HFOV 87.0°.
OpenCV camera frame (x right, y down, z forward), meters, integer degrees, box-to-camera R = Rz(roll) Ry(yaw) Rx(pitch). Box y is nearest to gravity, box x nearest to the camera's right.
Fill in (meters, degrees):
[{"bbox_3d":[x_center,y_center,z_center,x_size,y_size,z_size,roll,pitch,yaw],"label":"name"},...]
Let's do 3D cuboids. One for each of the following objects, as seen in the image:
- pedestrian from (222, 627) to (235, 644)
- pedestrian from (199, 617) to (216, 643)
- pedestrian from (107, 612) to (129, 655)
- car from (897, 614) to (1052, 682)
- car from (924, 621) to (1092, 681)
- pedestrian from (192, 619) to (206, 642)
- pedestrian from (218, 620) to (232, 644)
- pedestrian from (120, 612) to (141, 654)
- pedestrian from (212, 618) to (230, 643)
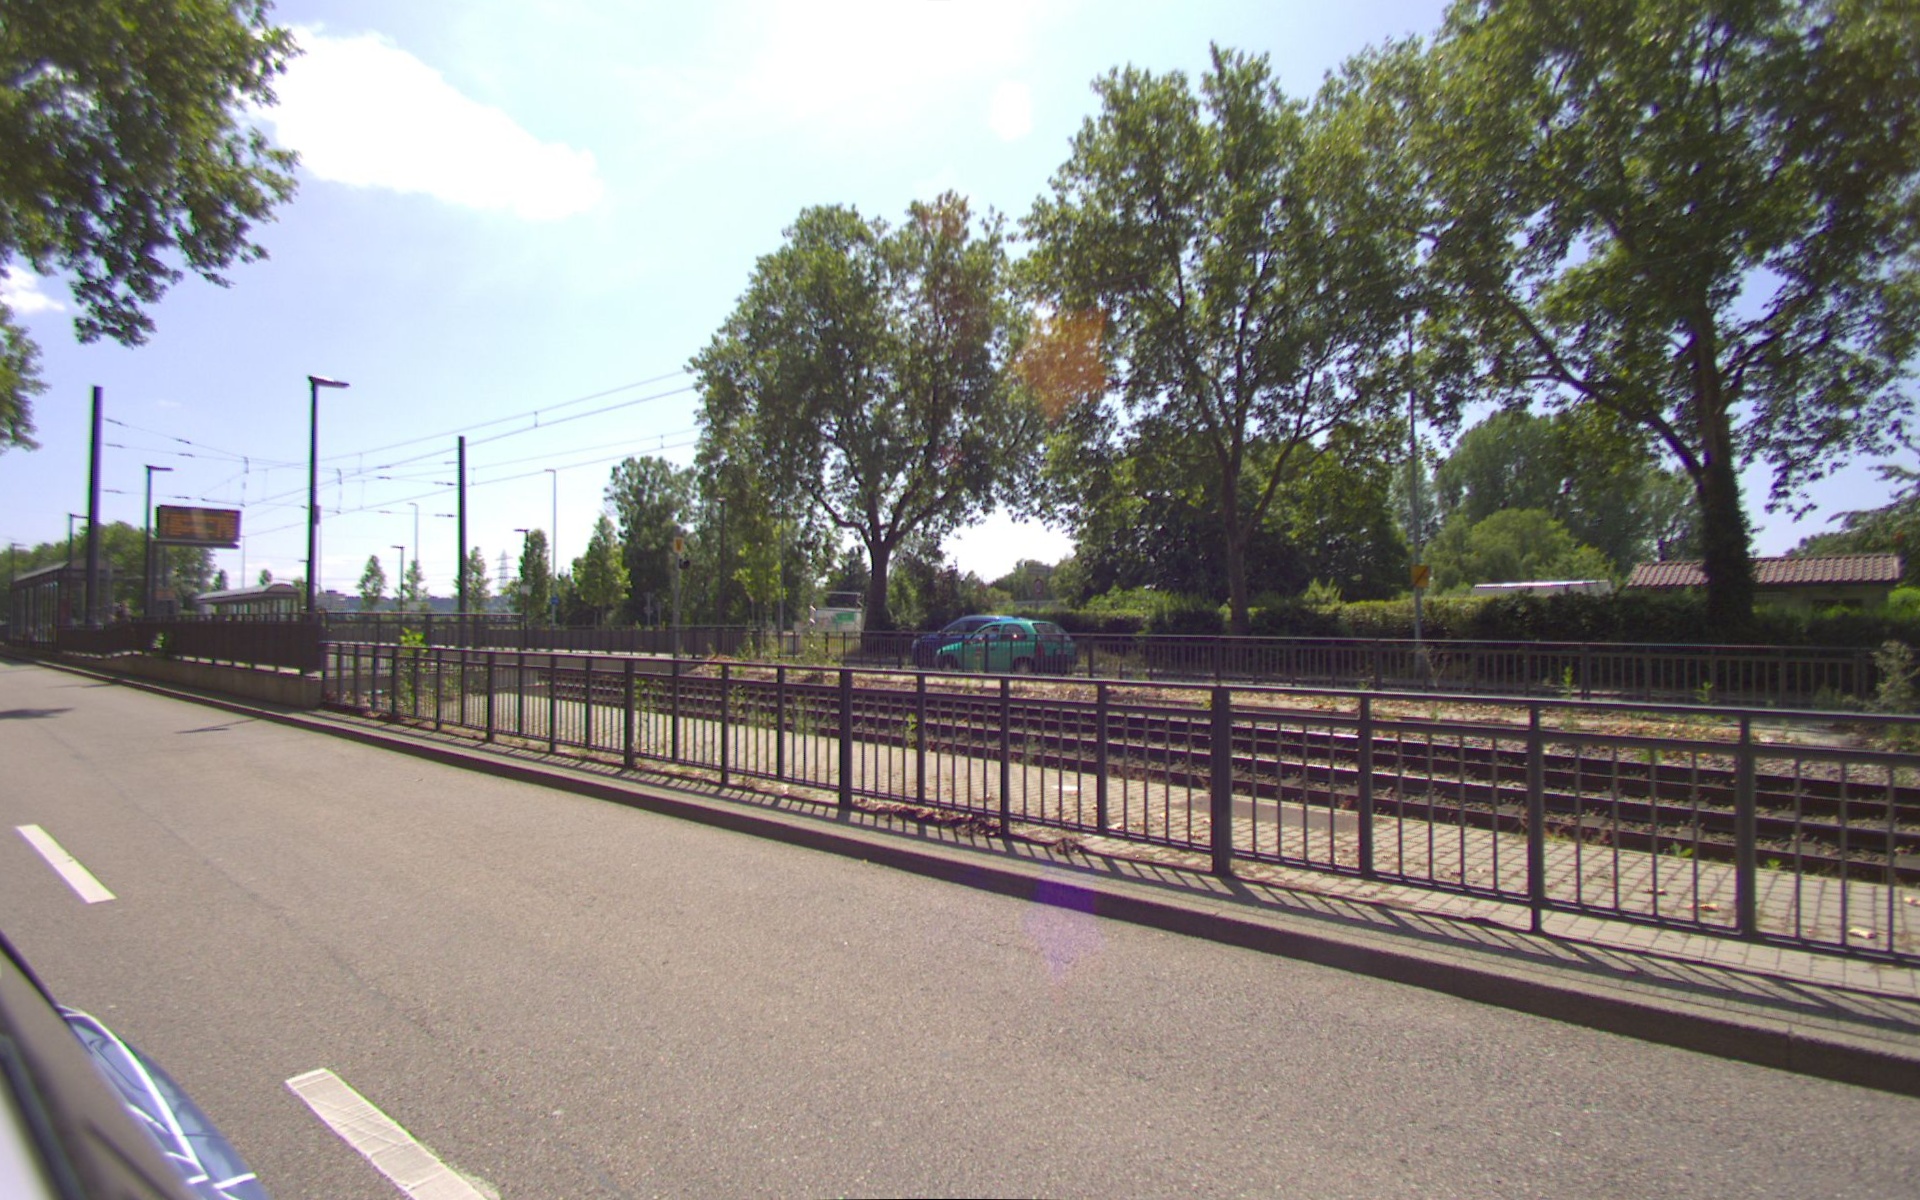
[{"bbox_3d":[-46.873,2.273,64.824,0.639,1.103,0.570,-2,-2,43],"label":"pedestrian"},{"bbox_3d":[-50.012,1.999,67.242,0.726,1.742,0.579,0,-2,-10],"label":"pedestrian"},{"bbox_3d":[-30.212,1.187,36.304,0.413,1.519,0.396,0,-1,1],"label":"pedestrian"},{"bbox_3d":[0.338,1.310,28.743,4.385,1.696,1.724,-1,1,44],"label":"car"},{"bbox_3d":[1.067,1.148,23.794,3.838,1.275,1.627,-1,-2,44],"label":"car"},{"bbox_3d":[-53.569,2.153,71.255,0.805,1.650,0.552,-2,-2,35],"label":"pedestrian"},{"bbox_3d":[-48.121,2.077,66.255,0.639,1.545,0.570,-2,-2,43],"label":"pedestrian"},{"bbox_3d":[-29.811,1.181,36.374,0.413,1.519,0.396,0,-1,1],"label":"pedestrian"},{"bbox_3d":[-48.727,2.030,66.737,0.815,1.651,0.579,0,-2,-10],"label":"pedestrian"}]
